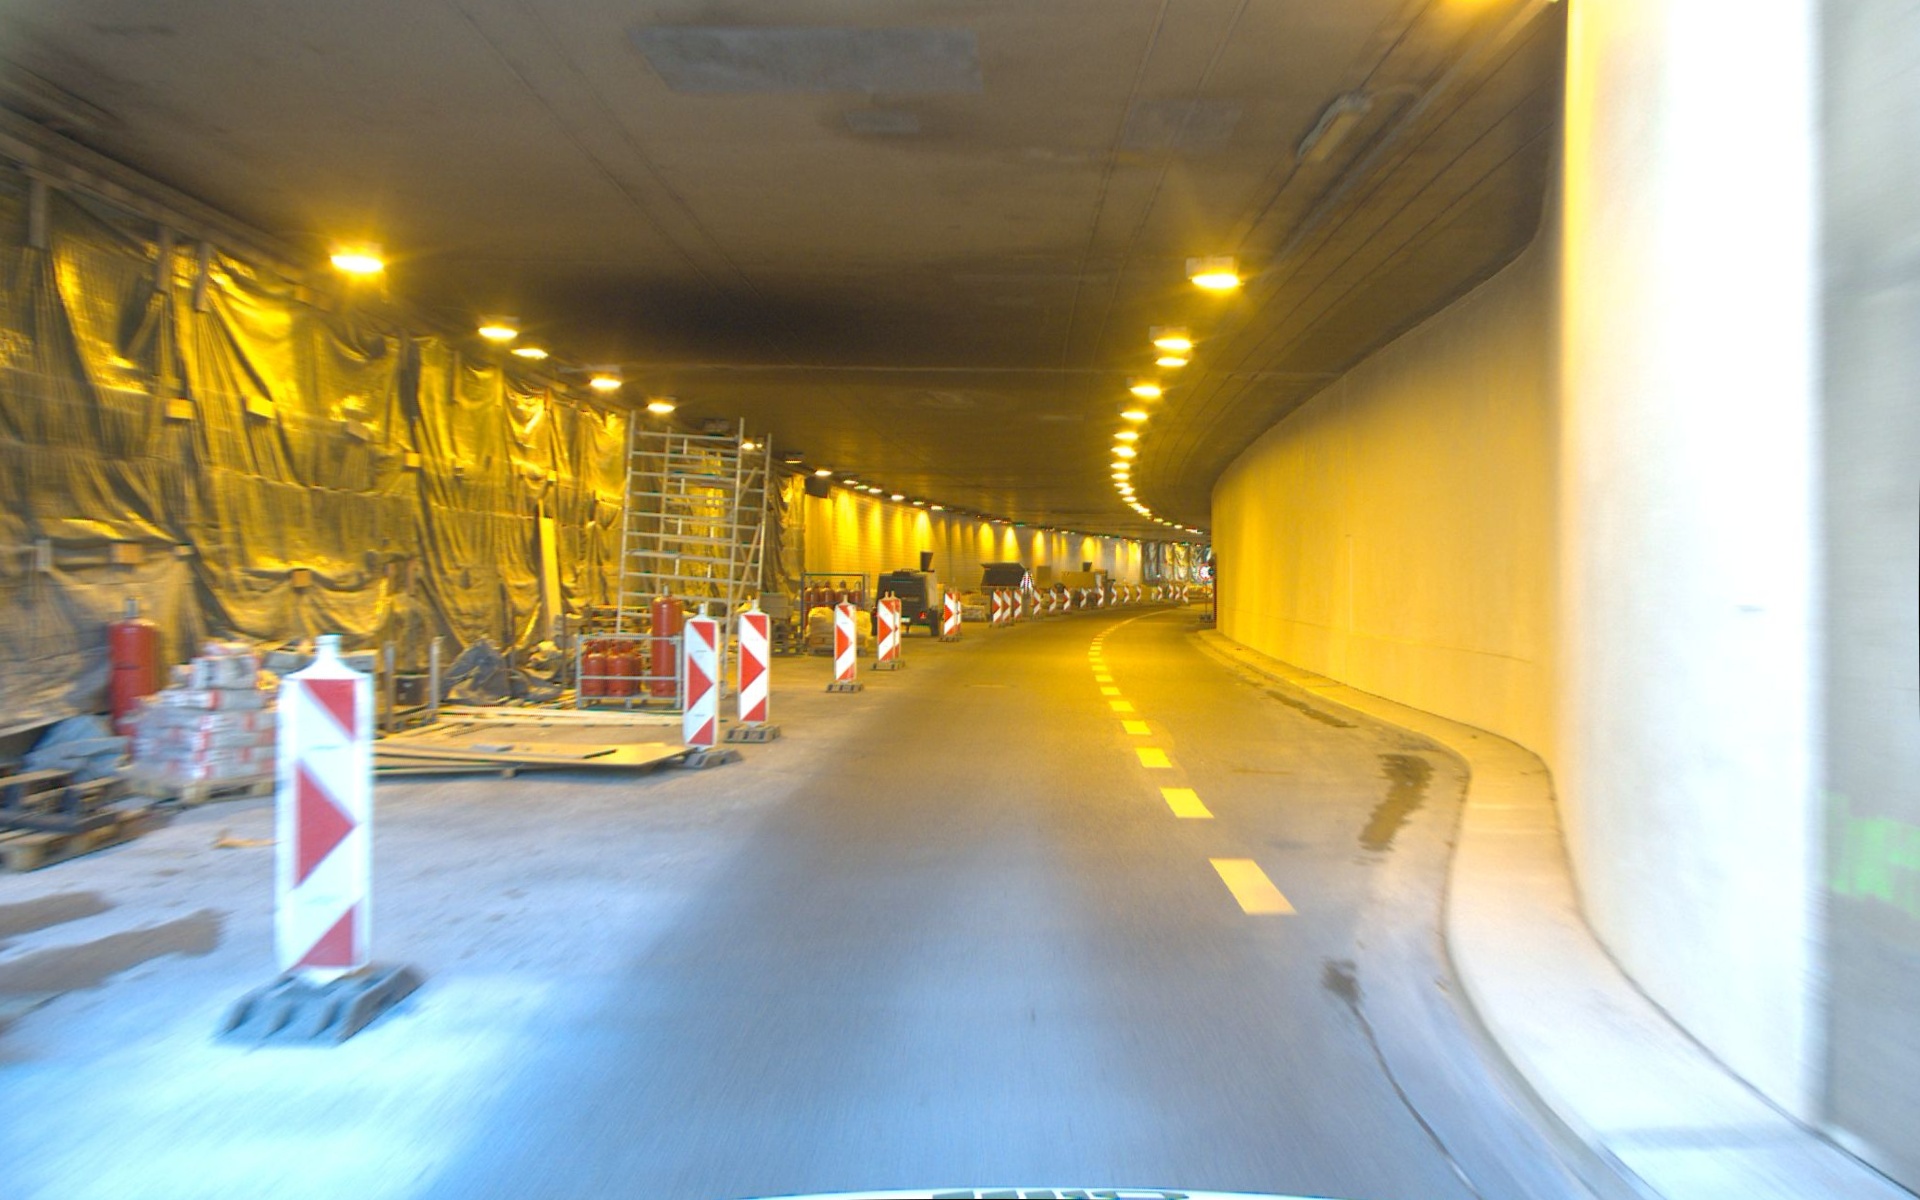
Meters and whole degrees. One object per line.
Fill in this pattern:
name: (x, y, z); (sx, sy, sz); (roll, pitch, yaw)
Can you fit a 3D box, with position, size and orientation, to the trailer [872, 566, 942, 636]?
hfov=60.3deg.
trailer: (-1.425, 0.012, 45.057); (1.547, 1.829, 2.941); (1, 0, 5)
